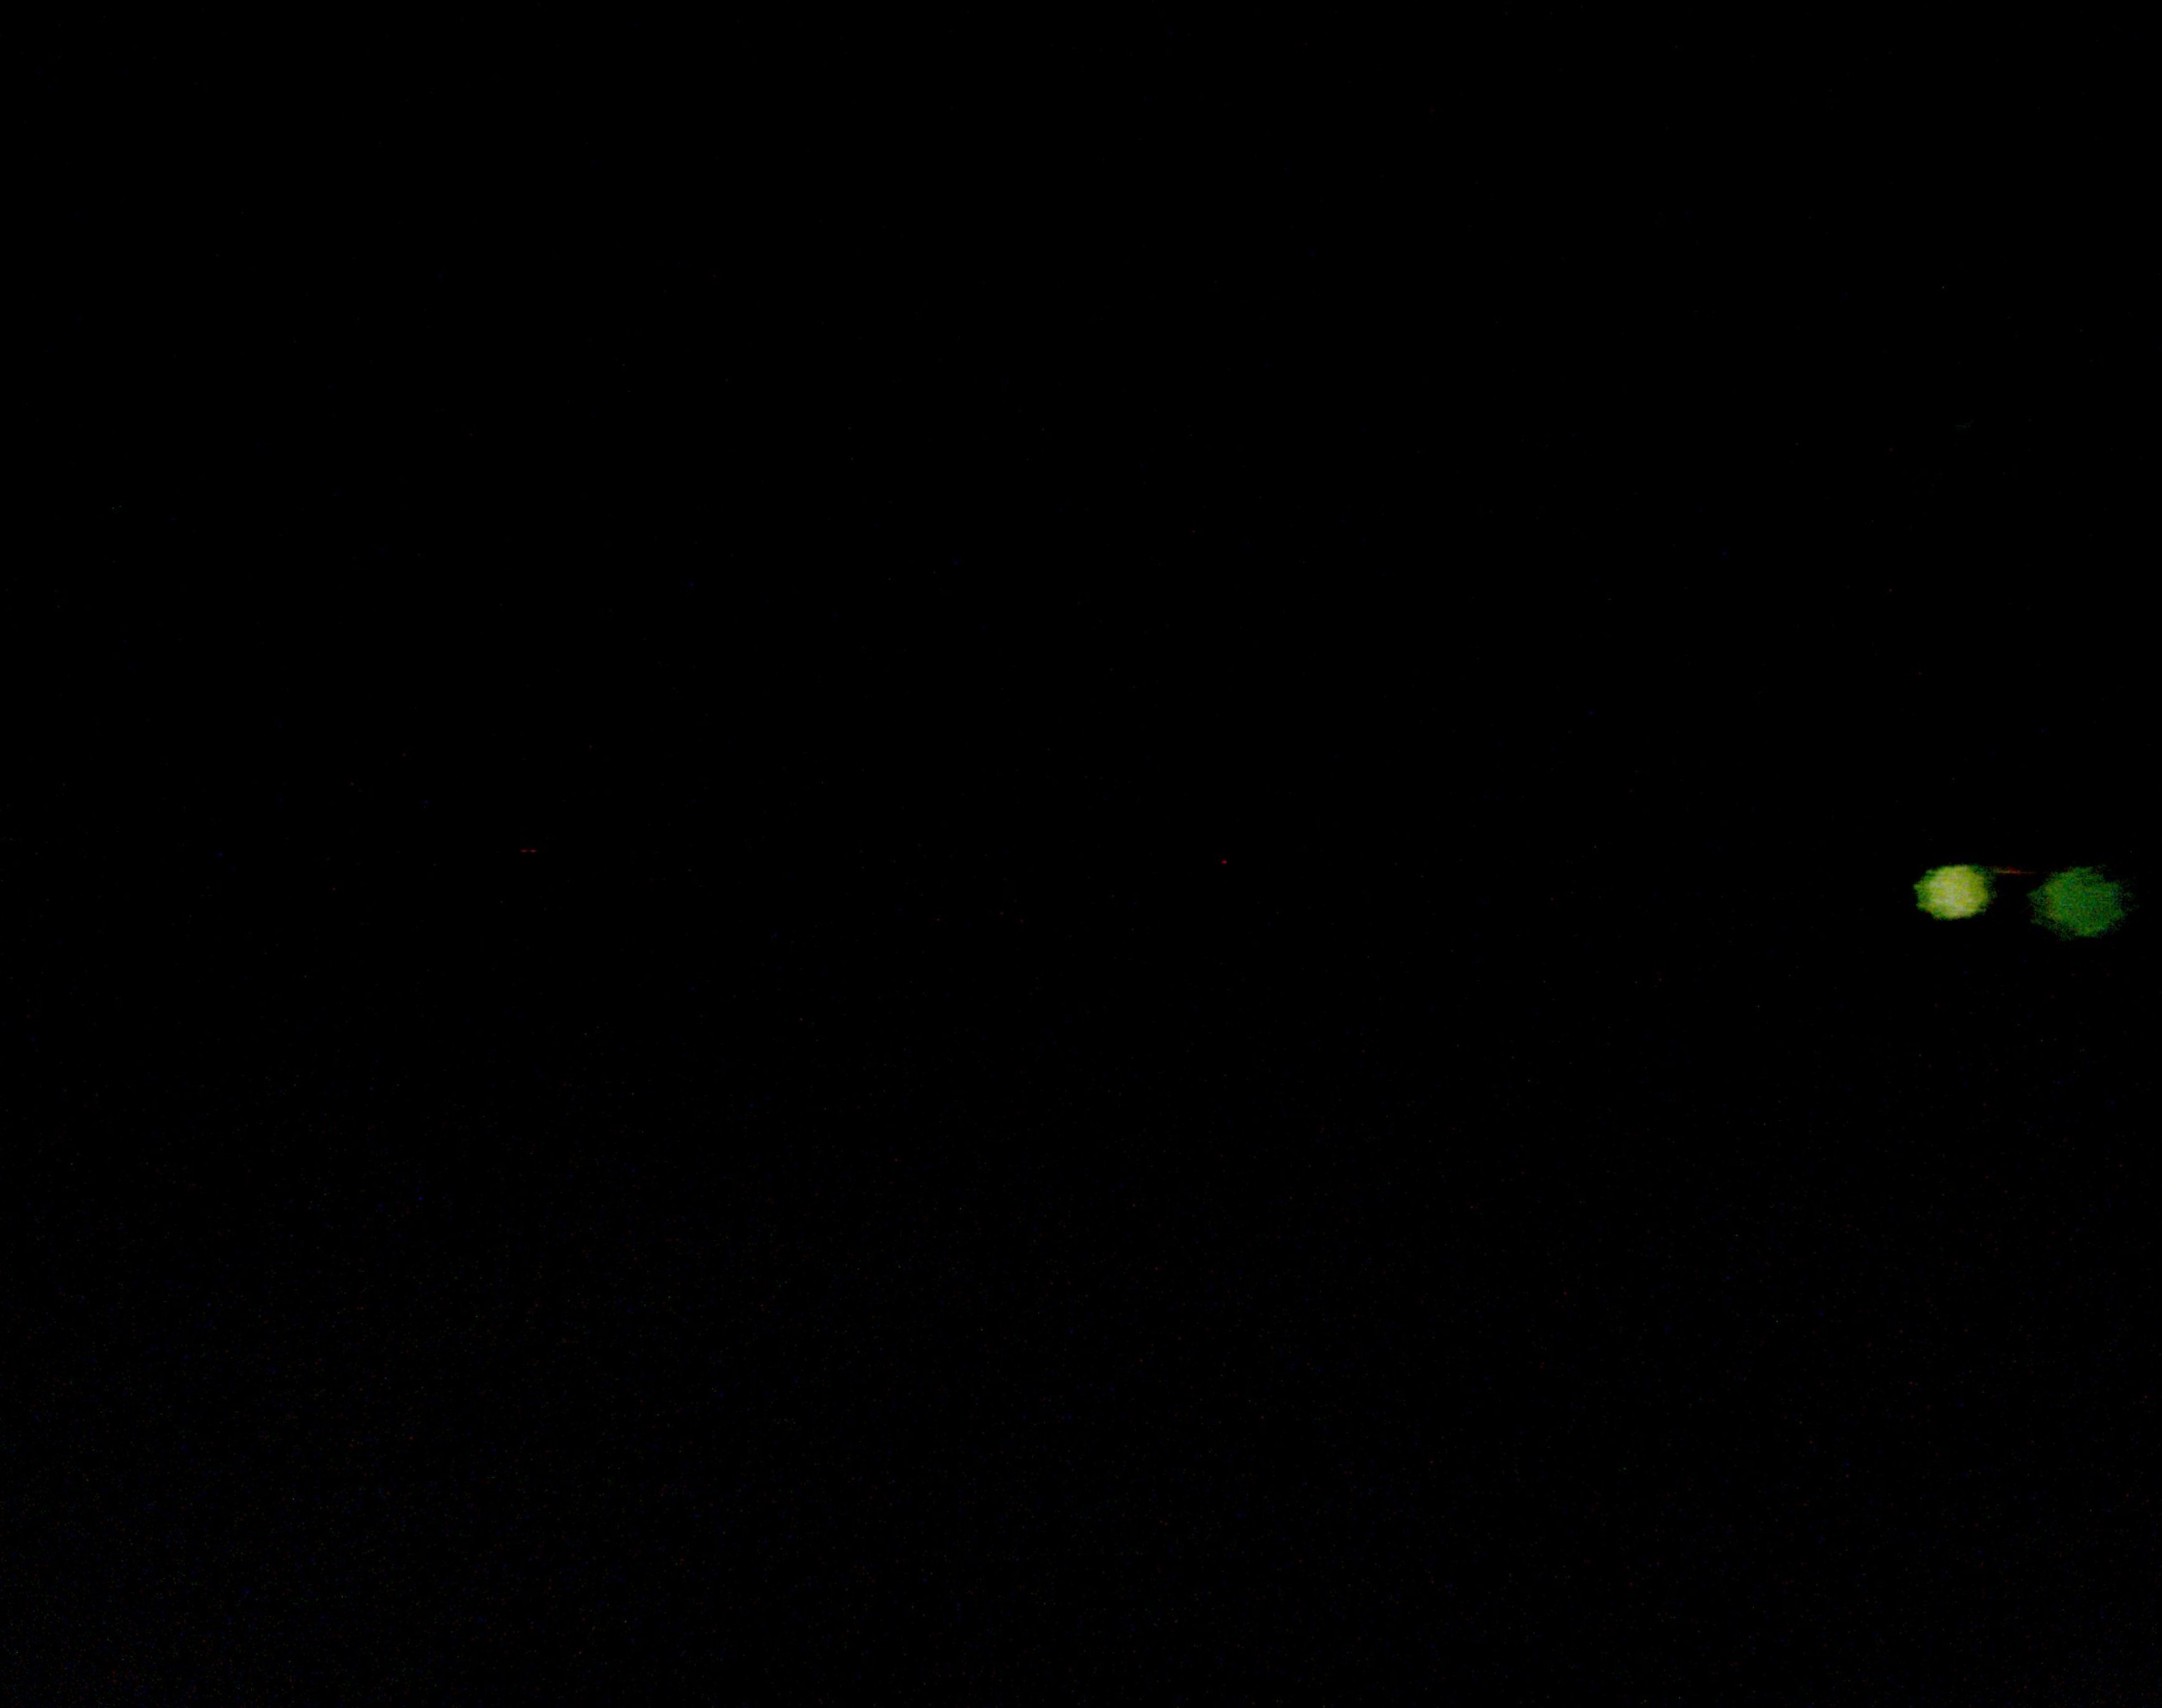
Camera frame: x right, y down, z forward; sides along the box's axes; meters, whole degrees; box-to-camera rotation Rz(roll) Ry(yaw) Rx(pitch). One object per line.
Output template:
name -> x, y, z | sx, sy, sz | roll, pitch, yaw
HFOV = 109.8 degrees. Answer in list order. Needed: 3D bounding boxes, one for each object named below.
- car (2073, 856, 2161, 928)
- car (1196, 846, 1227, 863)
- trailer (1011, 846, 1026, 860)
car -> 22.524, 0.770, 14.395 | 1.825, 1.433, 4.477 | 1, 0, 6
car -> 13.202, 0.071, 77.029 | 1.999, 1.648, 4.532 | -1, 1, -5
trailer -> -18.403, -0.234, 223.250 | 2.728, 3.933, 9.036 | -1, 0, -14
